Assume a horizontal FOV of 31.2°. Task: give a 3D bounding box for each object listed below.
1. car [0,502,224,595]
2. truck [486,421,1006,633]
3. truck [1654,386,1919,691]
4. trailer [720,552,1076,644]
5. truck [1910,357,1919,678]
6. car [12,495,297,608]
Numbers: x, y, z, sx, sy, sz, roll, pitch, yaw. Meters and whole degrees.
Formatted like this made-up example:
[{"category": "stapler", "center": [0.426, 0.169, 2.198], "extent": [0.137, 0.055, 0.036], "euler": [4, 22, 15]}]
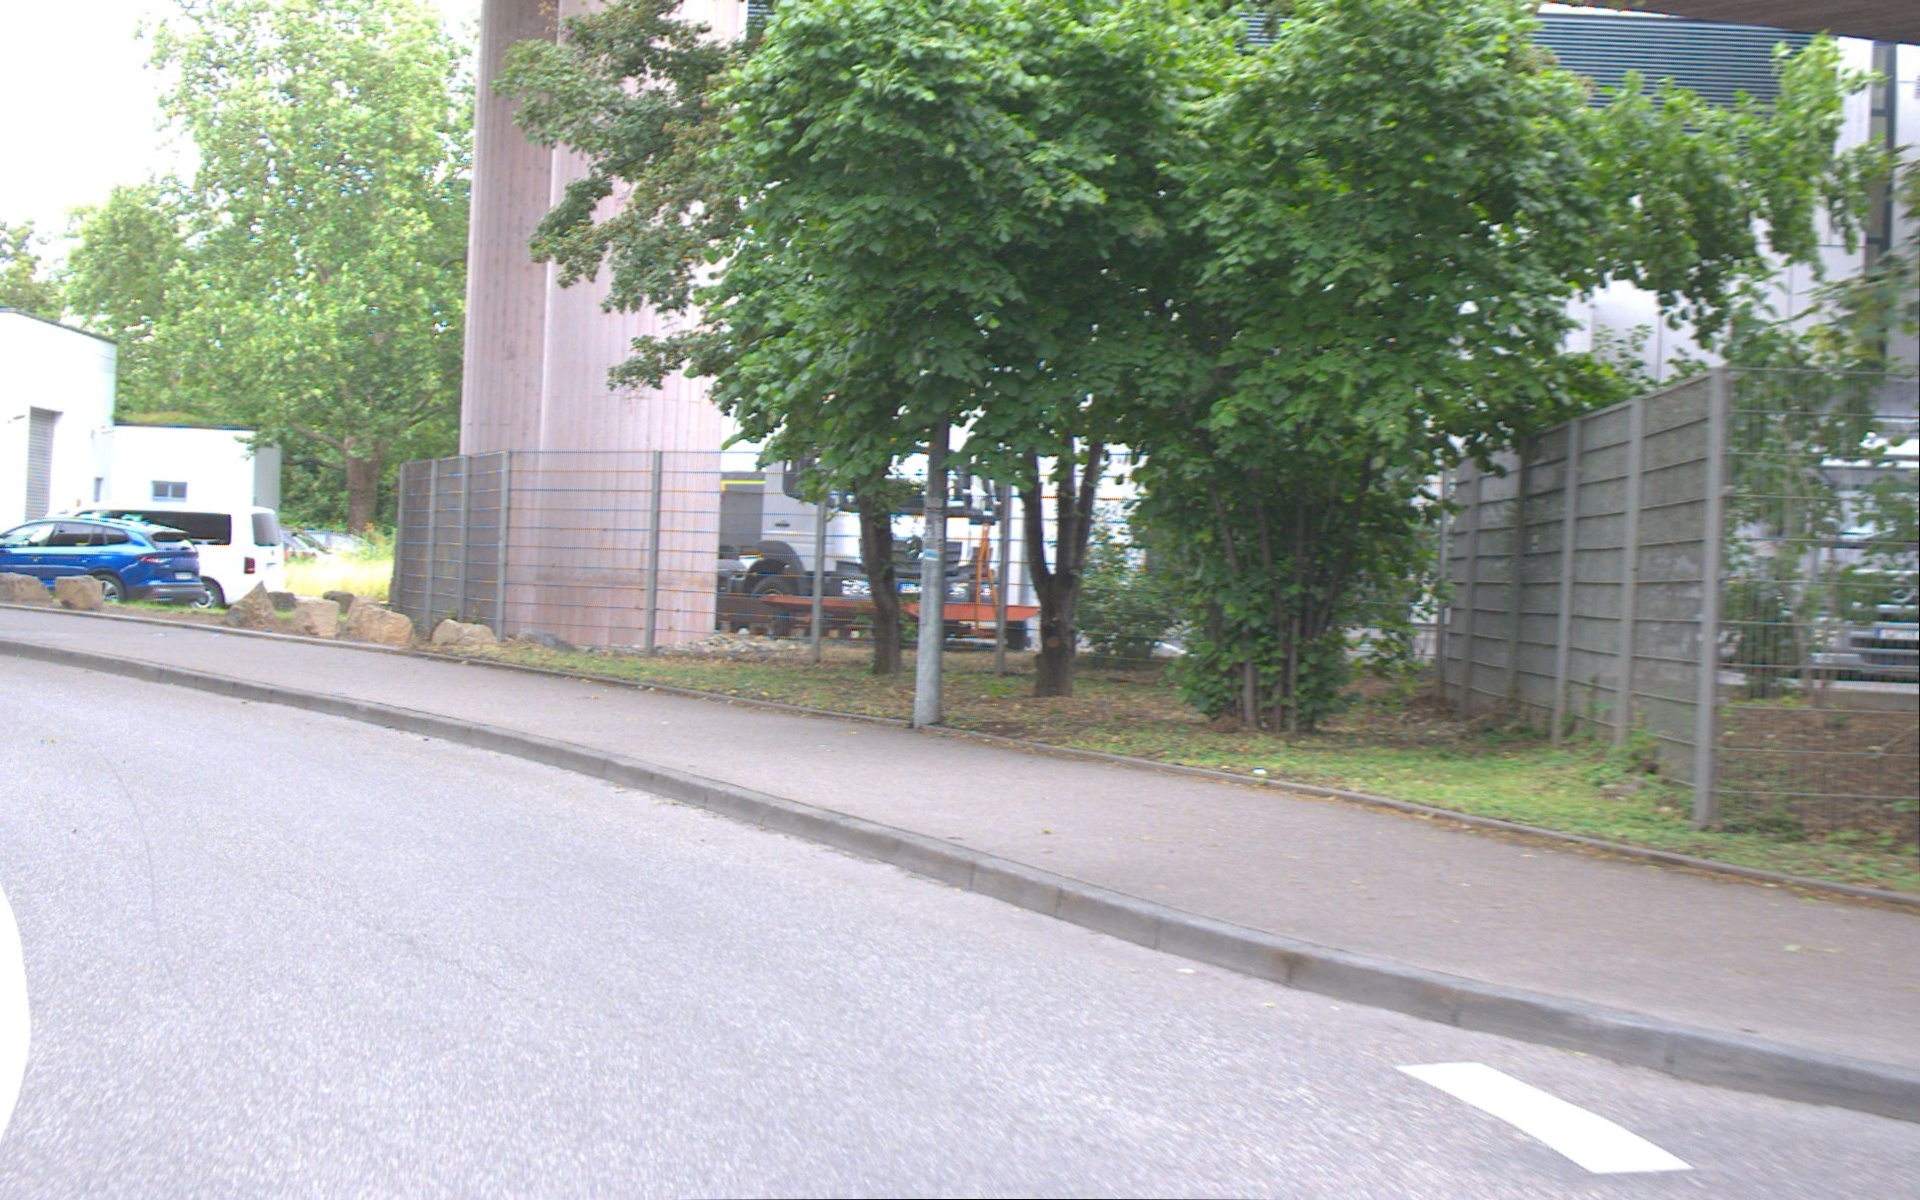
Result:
[{"category": "car", "center": [-14.531, -0.849, 56.240], "extent": [4.448, 1.437, 1.998], "euler": [1, 0, 17]}, {"category": "truck", "center": [-2.928, -0.970, 45.017], "extent": [2.717, 2.543, 7.227], "euler": [1, 1, -44]}, {"category": "truck", "center": [11.494, -0.861, 45.019], "extent": [3.055, 3.606, 7.916], "euler": [1, 2, 0]}, {"category": "trailer", "center": [-0.804, -0.064, 37.062], "extent": [2.148, 0.740, 6.296], "euler": [-2, 2, -17]}, {"category": "truck", "center": [15.434, -1.100, 47.377], "extent": [3.204, 4.763, 8.047], "euler": [1, 2, 7]}, {"category": "car", "center": [-13.835, -0.823, 59.162], "extent": [4.316, 1.851, 1.999], "euler": [1, 0, 10]}]
